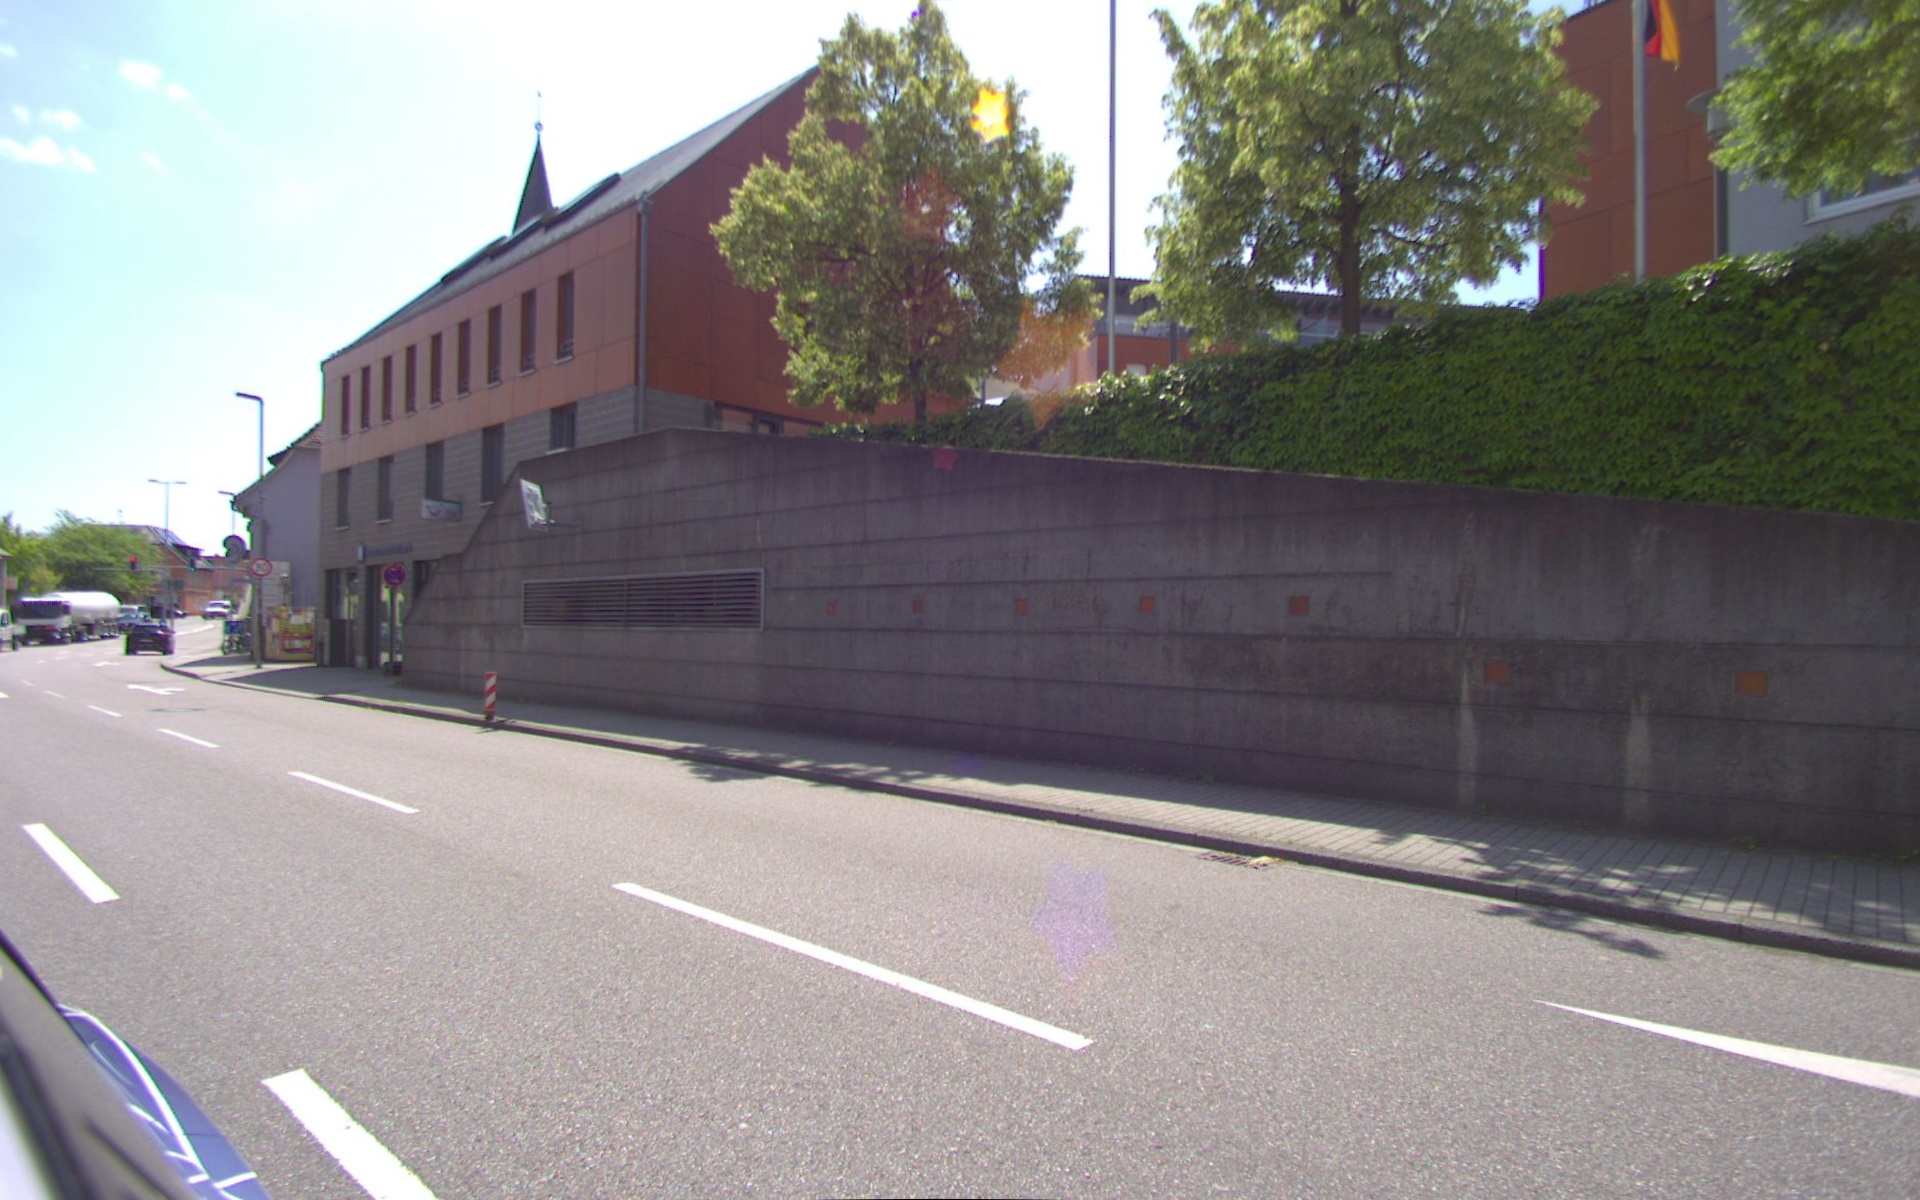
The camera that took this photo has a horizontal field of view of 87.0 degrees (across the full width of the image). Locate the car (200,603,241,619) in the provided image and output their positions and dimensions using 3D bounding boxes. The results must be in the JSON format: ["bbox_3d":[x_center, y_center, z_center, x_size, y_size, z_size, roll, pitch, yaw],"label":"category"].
[{"bbox_3d":[-79.742,1.226,109.194,1.979,1.643,4.589,0,-2,-13],"label":"car"}]

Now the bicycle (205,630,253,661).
[{"bbox_3d":[-32.364,1.985,44.832,0.571,1.258,1.827,-3,0,6],"label":"bicycle"}]

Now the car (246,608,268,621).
[{"bbox_3d":[-94.019,1.947,135.324,1.978,1.643,4.591,1,-2,-30],"label":"car"}]

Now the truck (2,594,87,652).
[{"bbox_3d":[-59.857,1.507,66.294,2.801,3.597,5.485,1,-2,-28],"label":"truck"}]

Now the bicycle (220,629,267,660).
[{"bbox_3d":[-31.720,1.976,44.824,0.571,1.258,1.827,-3,0,6],"label":"bicycle"}]

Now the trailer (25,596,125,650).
[{"bbox_3d":[-63.084,1.649,72.466,2.791,3.597,11.000,1,-2,-27],"label":"trailer"}]

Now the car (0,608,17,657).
[{"bbox_3d":[-52.667,1.752,54.271,2.140,2.583,4.838,1,-2,-32],"label":"car"}]

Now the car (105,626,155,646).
[{"bbox_3d":[-68.566,2.950,83.657,1.978,1.643,4.592,1,-2,-24],"label":"car"}]

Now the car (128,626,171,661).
[{"bbox_3d":[-41.018,2.156,51.244,1.648,1.670,4.025,1,-2,-39],"label":"car"}]
